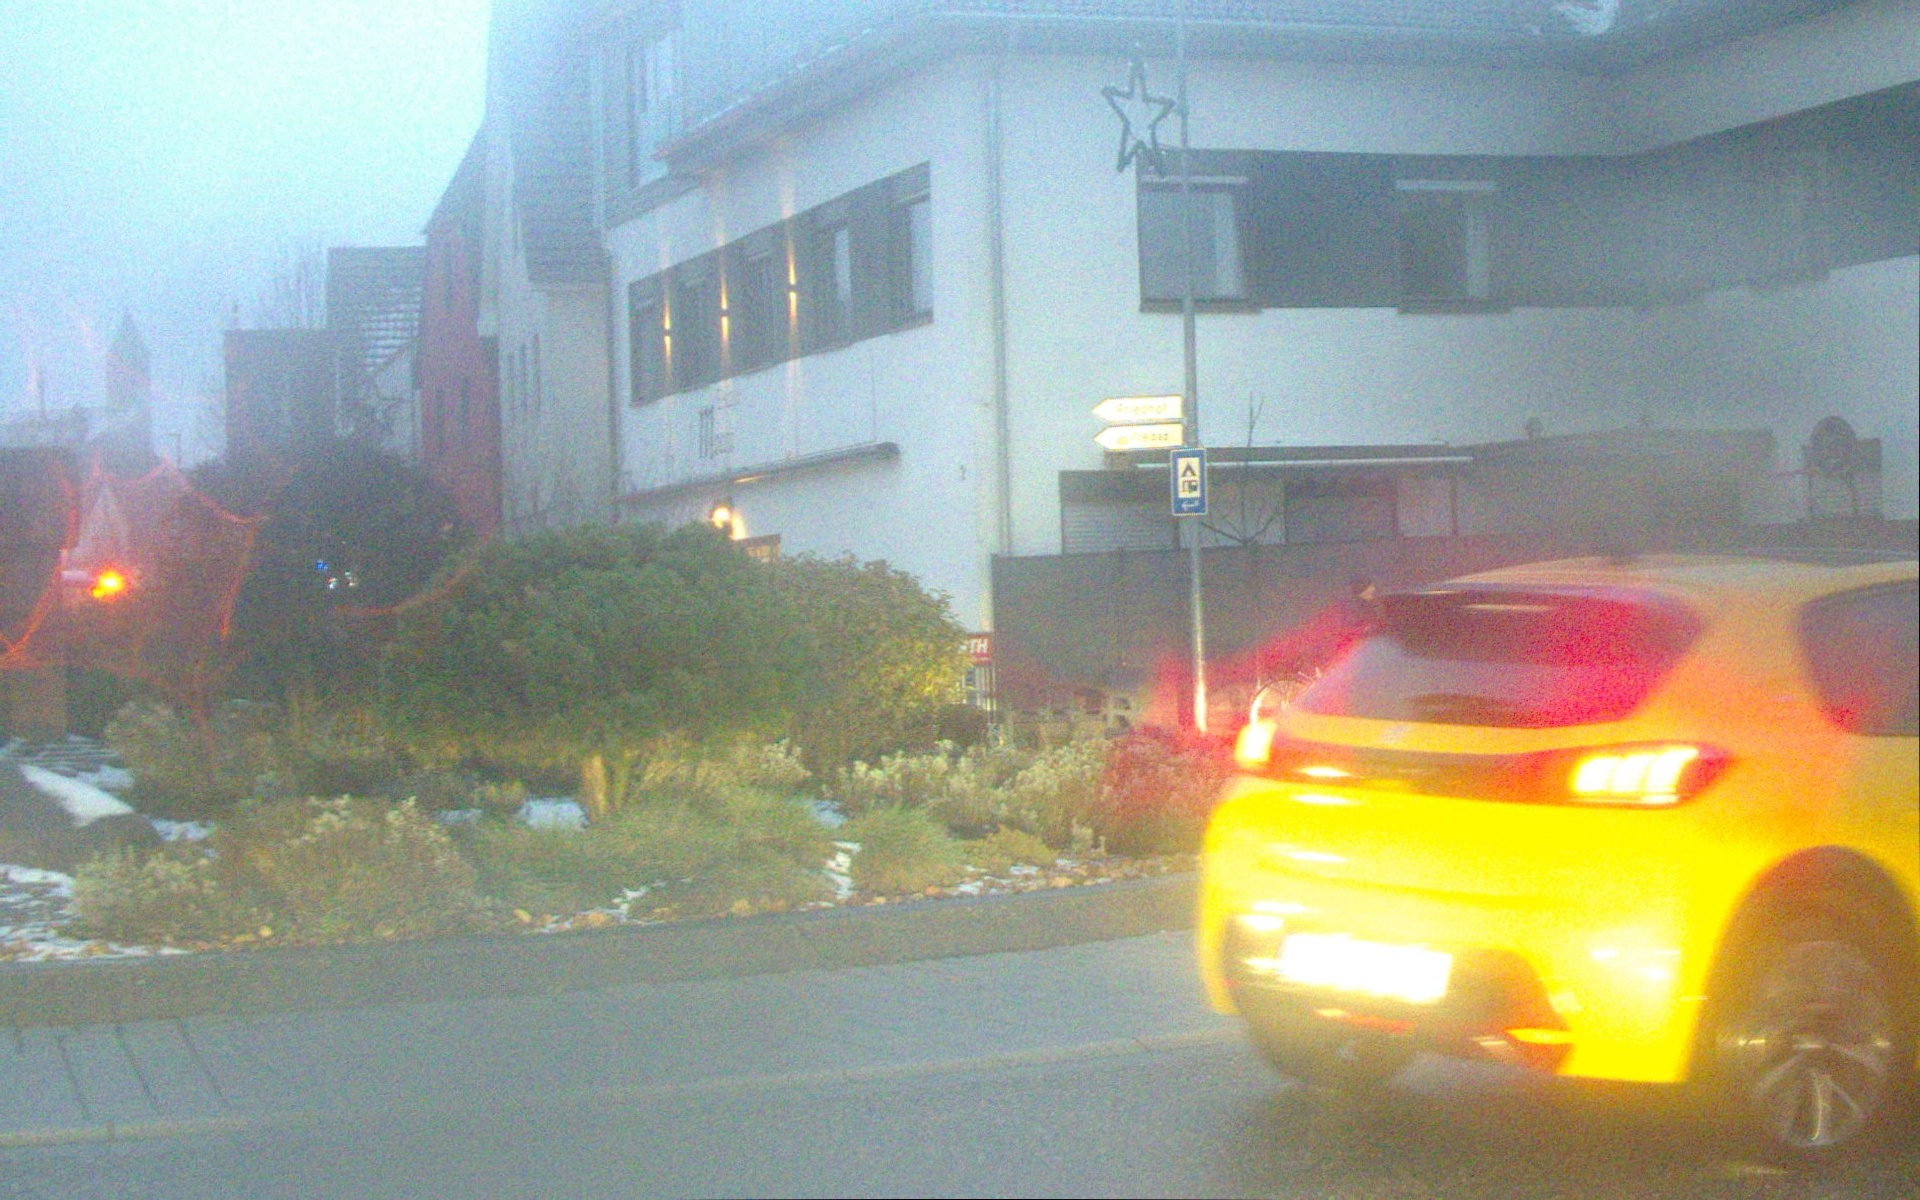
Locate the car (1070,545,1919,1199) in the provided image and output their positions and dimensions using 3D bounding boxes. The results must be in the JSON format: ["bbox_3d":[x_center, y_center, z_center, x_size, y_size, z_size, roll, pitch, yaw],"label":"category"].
[{"bbox_3d":[2.409,0.579,9.180,4.000,1.417,1.715,-2,1,-36],"label":"car"}]

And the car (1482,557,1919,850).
[{"bbox_3d":[4.853,0.559,21.163,1.915,1.610,3.951,-1,0,-13],"label":"car"}]

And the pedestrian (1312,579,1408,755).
[{"bbox_3d":[3.626,0.603,31.139,0.690,1.559,0.609,-1,1,24],"label":"pedestrian"}]

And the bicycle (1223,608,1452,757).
[{"bbox_3d":[3.381,0.734,30.836,1.939,1.291,0.551,-1,2,25],"label":"bicycle"}]
